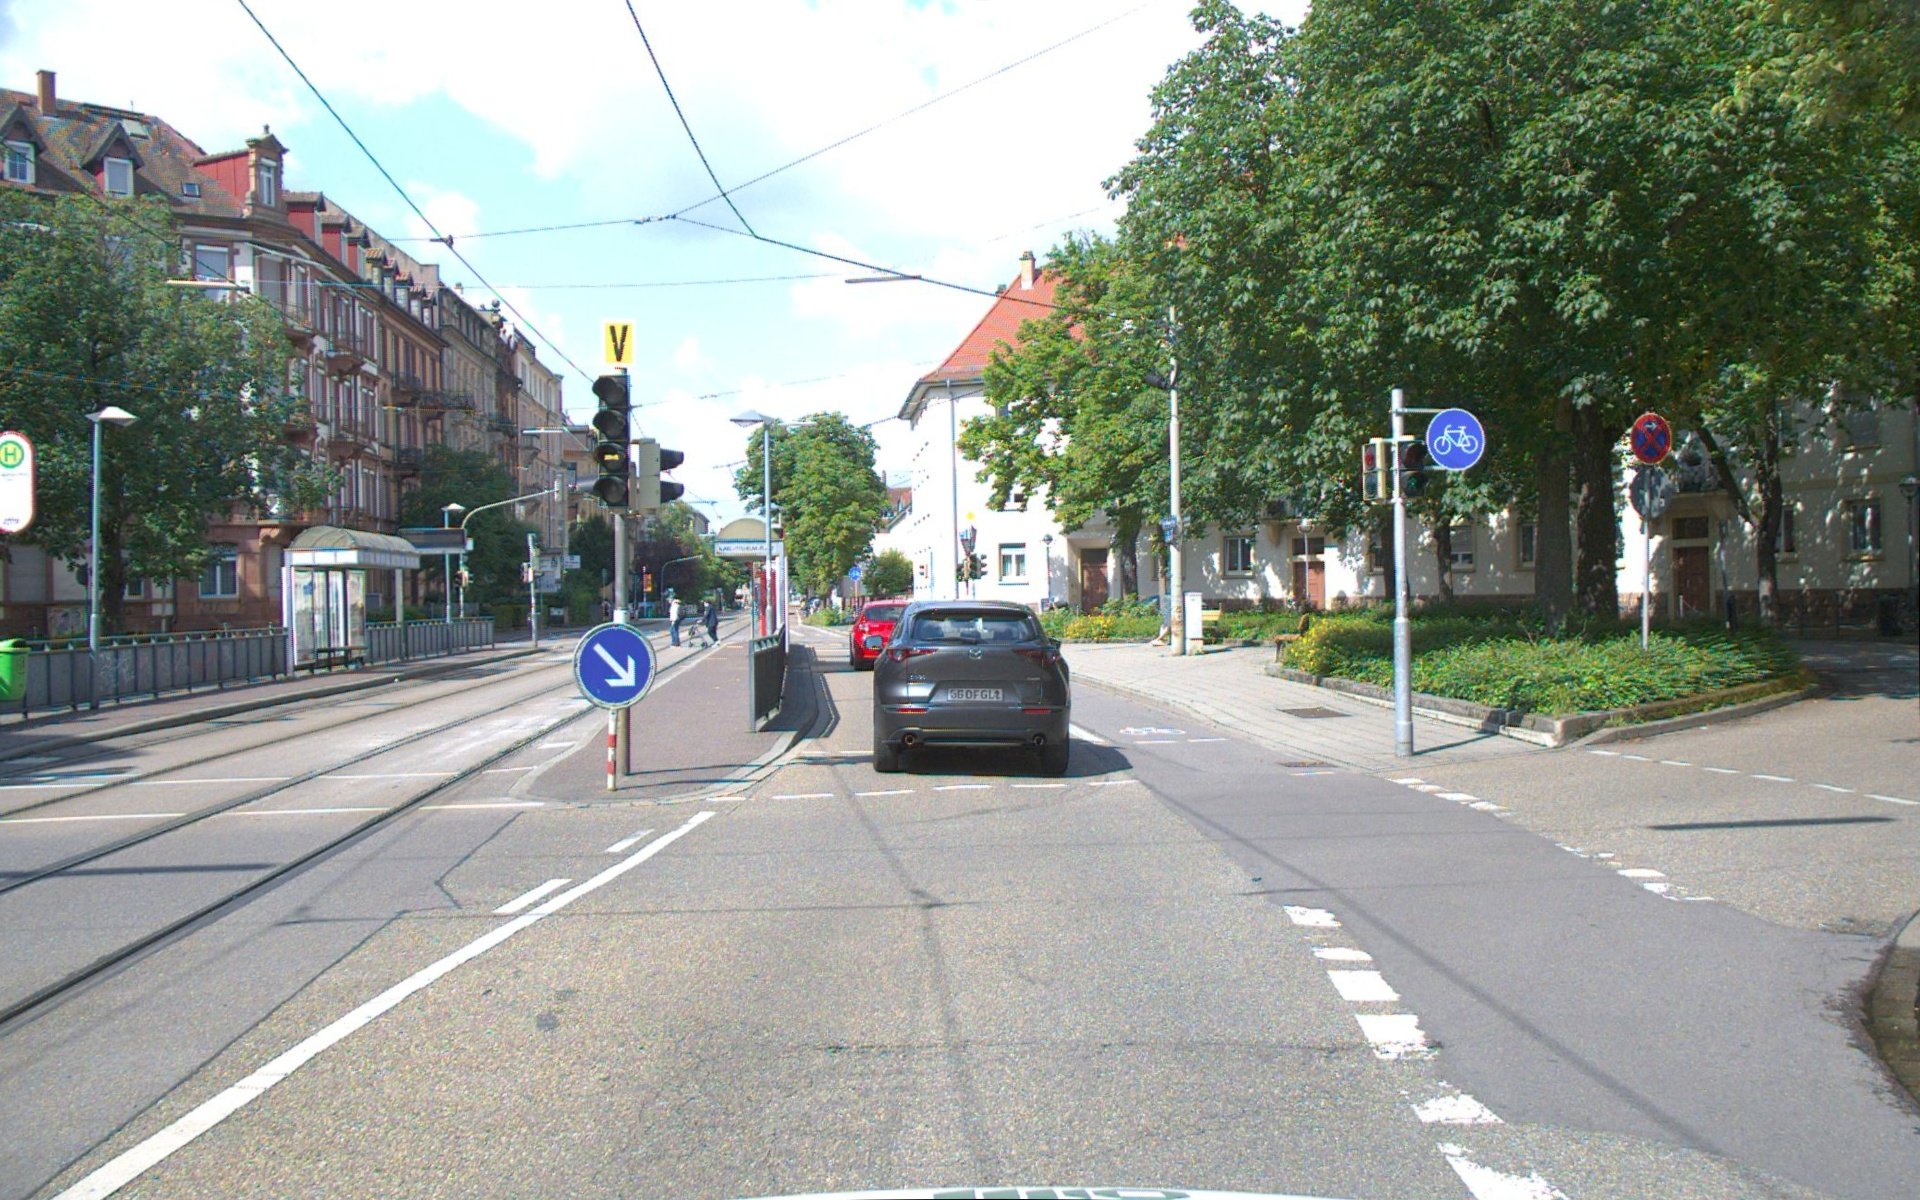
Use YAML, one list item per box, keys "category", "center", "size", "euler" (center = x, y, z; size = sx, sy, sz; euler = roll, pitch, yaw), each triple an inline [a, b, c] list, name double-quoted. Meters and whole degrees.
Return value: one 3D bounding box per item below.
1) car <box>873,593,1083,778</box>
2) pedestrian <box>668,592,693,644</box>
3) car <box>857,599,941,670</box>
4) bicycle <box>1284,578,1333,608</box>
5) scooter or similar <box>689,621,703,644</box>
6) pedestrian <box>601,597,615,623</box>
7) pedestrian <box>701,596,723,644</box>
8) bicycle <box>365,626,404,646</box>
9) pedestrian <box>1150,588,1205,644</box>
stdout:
- category: "car"
  center: [0.050, 0.730, 15.950]
  size: [1.747, 1.540, 3.997]
  euler: [1, 0, -3]
- category: "pedestrian"
  center: [-9.329, 0.600, 55.210]
  size: [0.756, 1.704, 0.667]
  euler: [-1, 0, -7]
- category: "car"
  center: [-1.383, 0.721, 36.405]
  size: [1.740, 1.489, 3.839]
  euler: [0, 0, -4]
- category: "bicycle"
  center: [12.702, -0.245, 60.318]
  size: [0.562, 1.037, 1.726]
  euler: [-4, 2, -42]
- category: "scooter or similar"
  center: [-8.693, 1.061, 54.444]
  size: [0.406, 0.733, 0.486]
  euler: [-1, 0, -6]
- category: "pedestrian"
  center: [-23.540, 0.671, 110.700]
  size: [0.772, 1.718, 0.731]
  euler: [-1, 0, -4]
- category: "pedestrian"
  center: [-8.163, 0.655, 54.469]
  size: [0.655, 1.573, 0.580]
  euler: [-1, 0, -7]
- category: "bicycle"
  center: [-23.865, 1.475, 68.589]
  size: [0.378, 0.760, 1.708]
  euler: [-1, 0, 30]
- category: "pedestrian"
  center: [5.394, 0.393, 41.032]
  size: [1.171, 1.291, 0.556]
  euler: [-4, 0, -11]
